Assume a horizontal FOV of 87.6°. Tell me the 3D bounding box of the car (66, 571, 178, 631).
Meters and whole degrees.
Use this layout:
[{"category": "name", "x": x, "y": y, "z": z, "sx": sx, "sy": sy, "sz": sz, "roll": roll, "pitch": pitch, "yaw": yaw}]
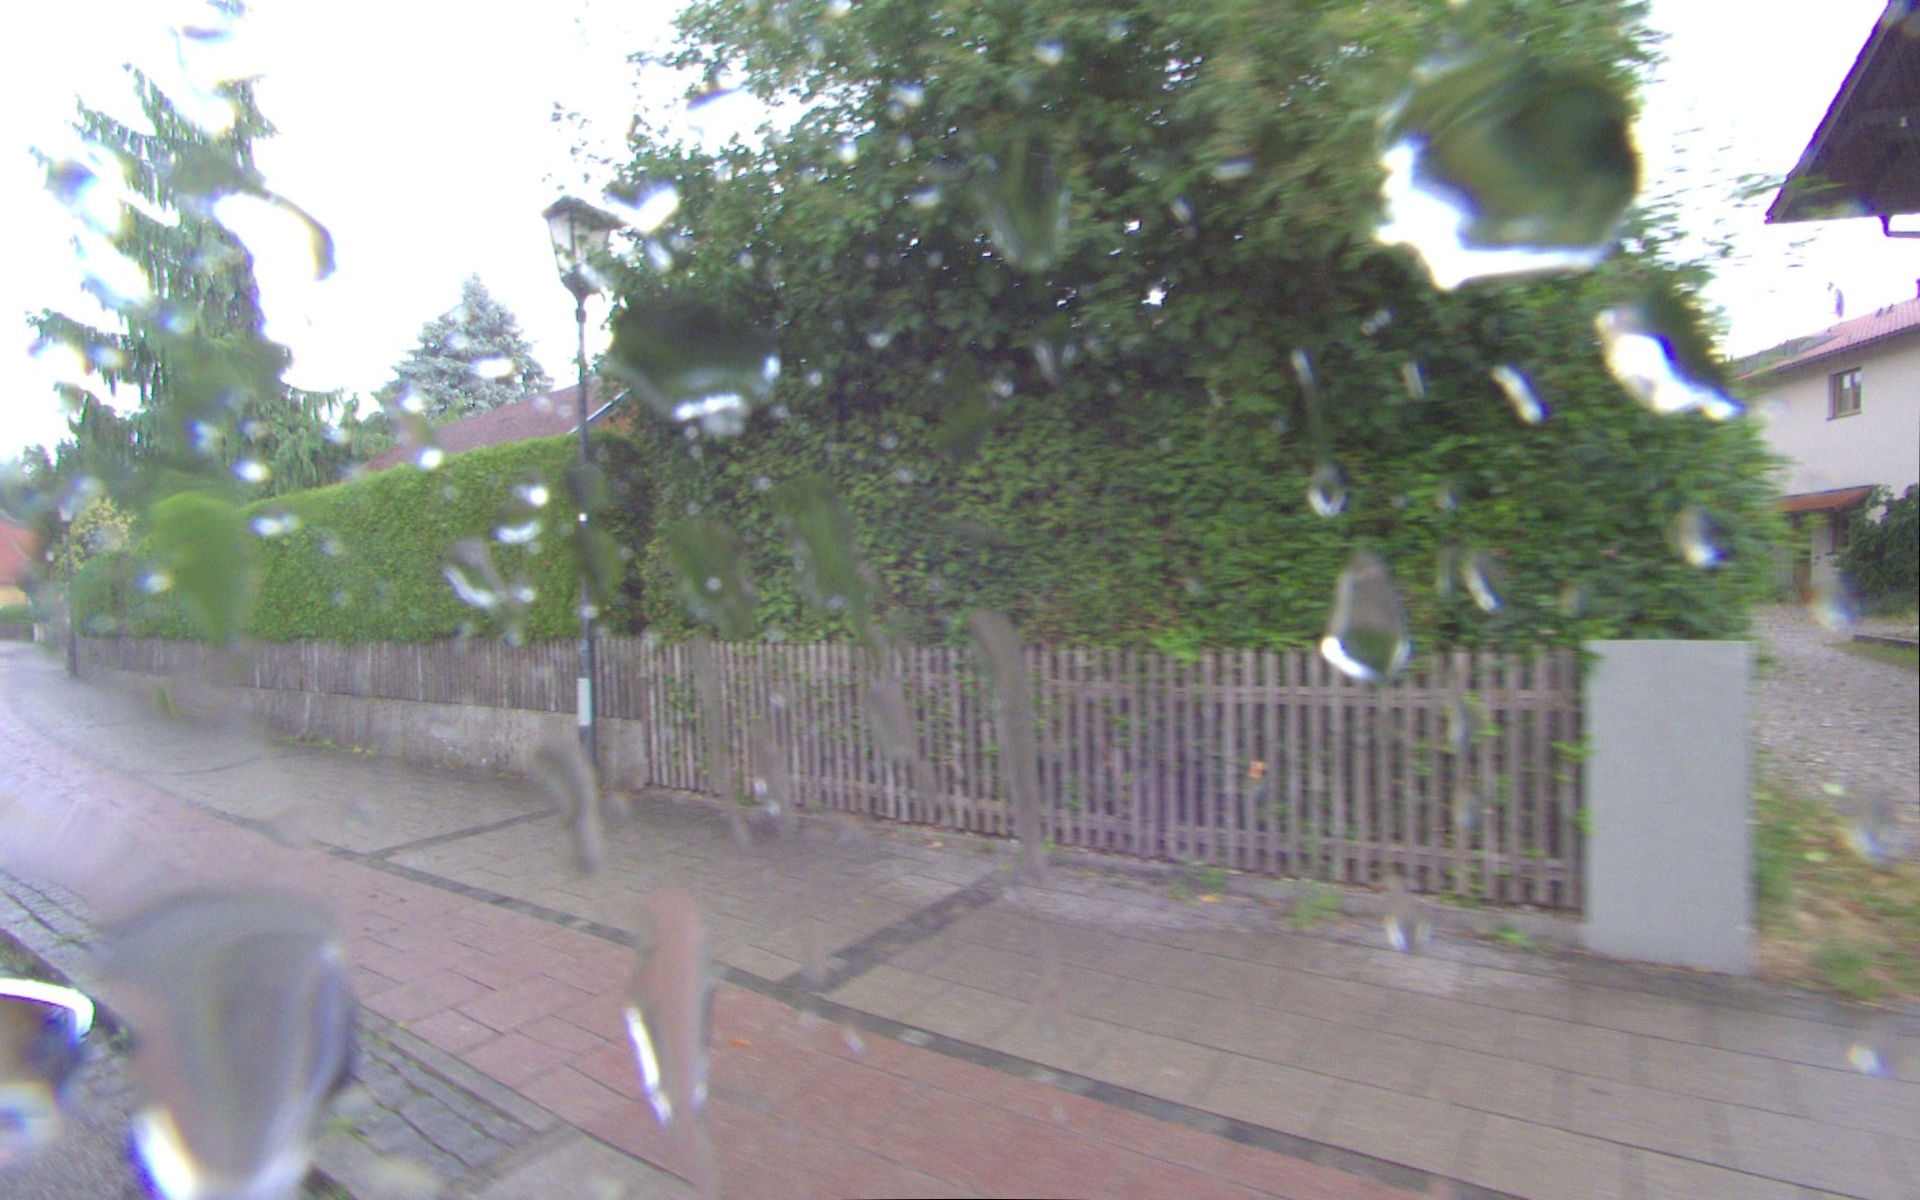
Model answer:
[{"category": "car", "x": -33.036, "y": 0.090, "z": 39.450, "sx": 4.883, "sy": 2.201, "sz": 1.990, "roll": -1, "pitch": -2, "yaw": 32}]
